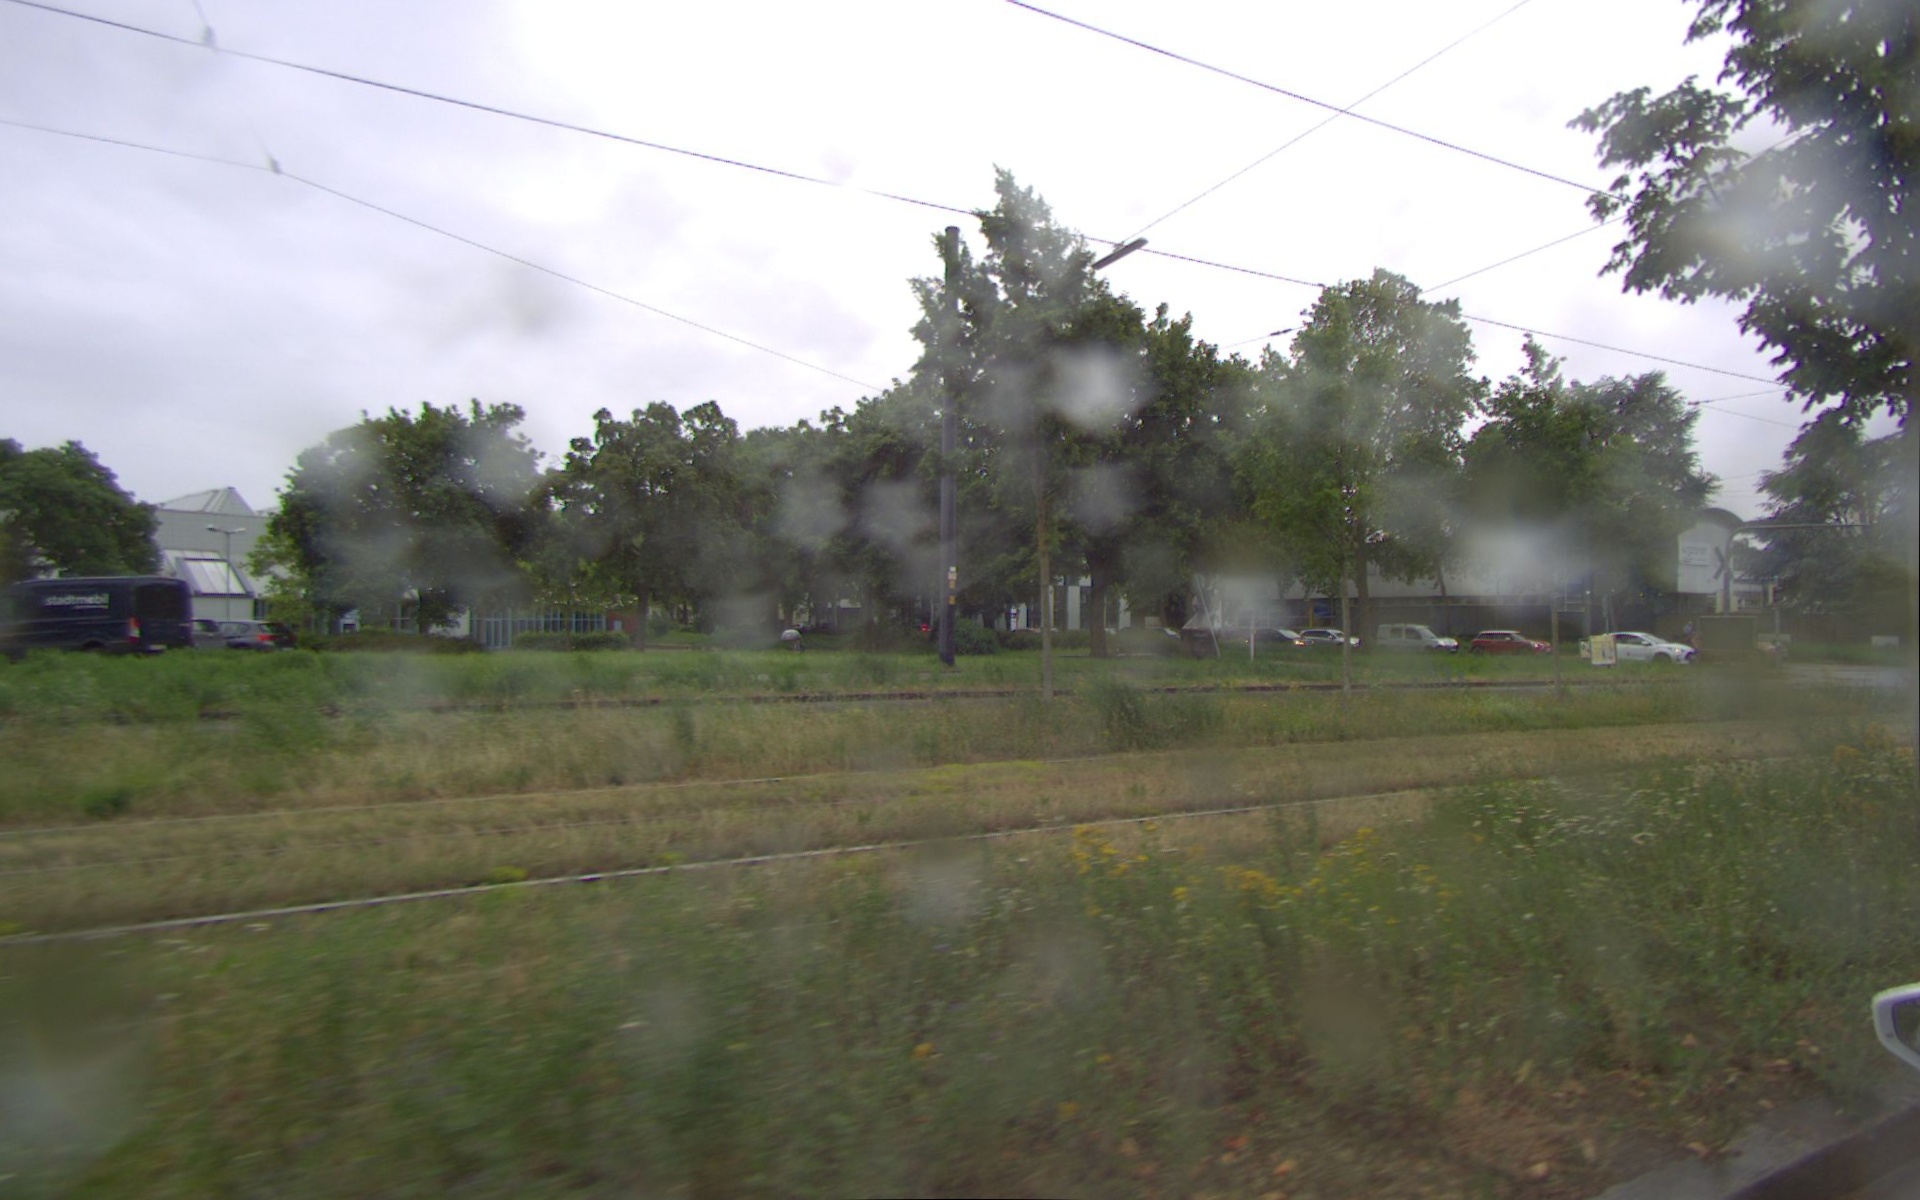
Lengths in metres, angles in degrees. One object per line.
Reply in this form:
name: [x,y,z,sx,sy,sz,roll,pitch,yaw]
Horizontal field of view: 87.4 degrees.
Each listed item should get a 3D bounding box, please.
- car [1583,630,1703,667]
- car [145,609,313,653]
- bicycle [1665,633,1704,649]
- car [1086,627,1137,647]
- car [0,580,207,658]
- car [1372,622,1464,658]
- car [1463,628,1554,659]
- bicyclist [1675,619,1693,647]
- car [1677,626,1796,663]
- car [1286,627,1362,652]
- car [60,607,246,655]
car: [29.704,2.082,43.819,1.633,1.518,4.046,2,-2,-31]
car: [-23.042,0.977,31.744,4.015,1.356,1.838,0,-2,3]
bicycle: [45.089,2.532,62.526,0.633,0.979,1.953,1,-2,-24]
car: [10.944,2.694,72.902,1.634,1.413,3.797,2,-2,-32]
car: [-23.041,0.513,26.577,4.622,1.973,2.037,0,-2,-1]
car: [24.240,2.068,53.282,1.635,1.820,4.183,0,-1,-34]
car: [28.583,2.231,52.459,1.636,1.519,3.881,0,-1,-35]
bicyclist: [45.087,2.053,62.546,0.633,1.705,0.682,1,-2,-24]
car: [33.871,1.924,43.894,1.633,1.518,3.799,2,-2,-31]
car: [22.466,2.441,62.133,1.634,1.474,4.333,2,-2,-32]
car: [-23.545,0.911,29.392,4.015,1.356,1.838,0,-2,3]
